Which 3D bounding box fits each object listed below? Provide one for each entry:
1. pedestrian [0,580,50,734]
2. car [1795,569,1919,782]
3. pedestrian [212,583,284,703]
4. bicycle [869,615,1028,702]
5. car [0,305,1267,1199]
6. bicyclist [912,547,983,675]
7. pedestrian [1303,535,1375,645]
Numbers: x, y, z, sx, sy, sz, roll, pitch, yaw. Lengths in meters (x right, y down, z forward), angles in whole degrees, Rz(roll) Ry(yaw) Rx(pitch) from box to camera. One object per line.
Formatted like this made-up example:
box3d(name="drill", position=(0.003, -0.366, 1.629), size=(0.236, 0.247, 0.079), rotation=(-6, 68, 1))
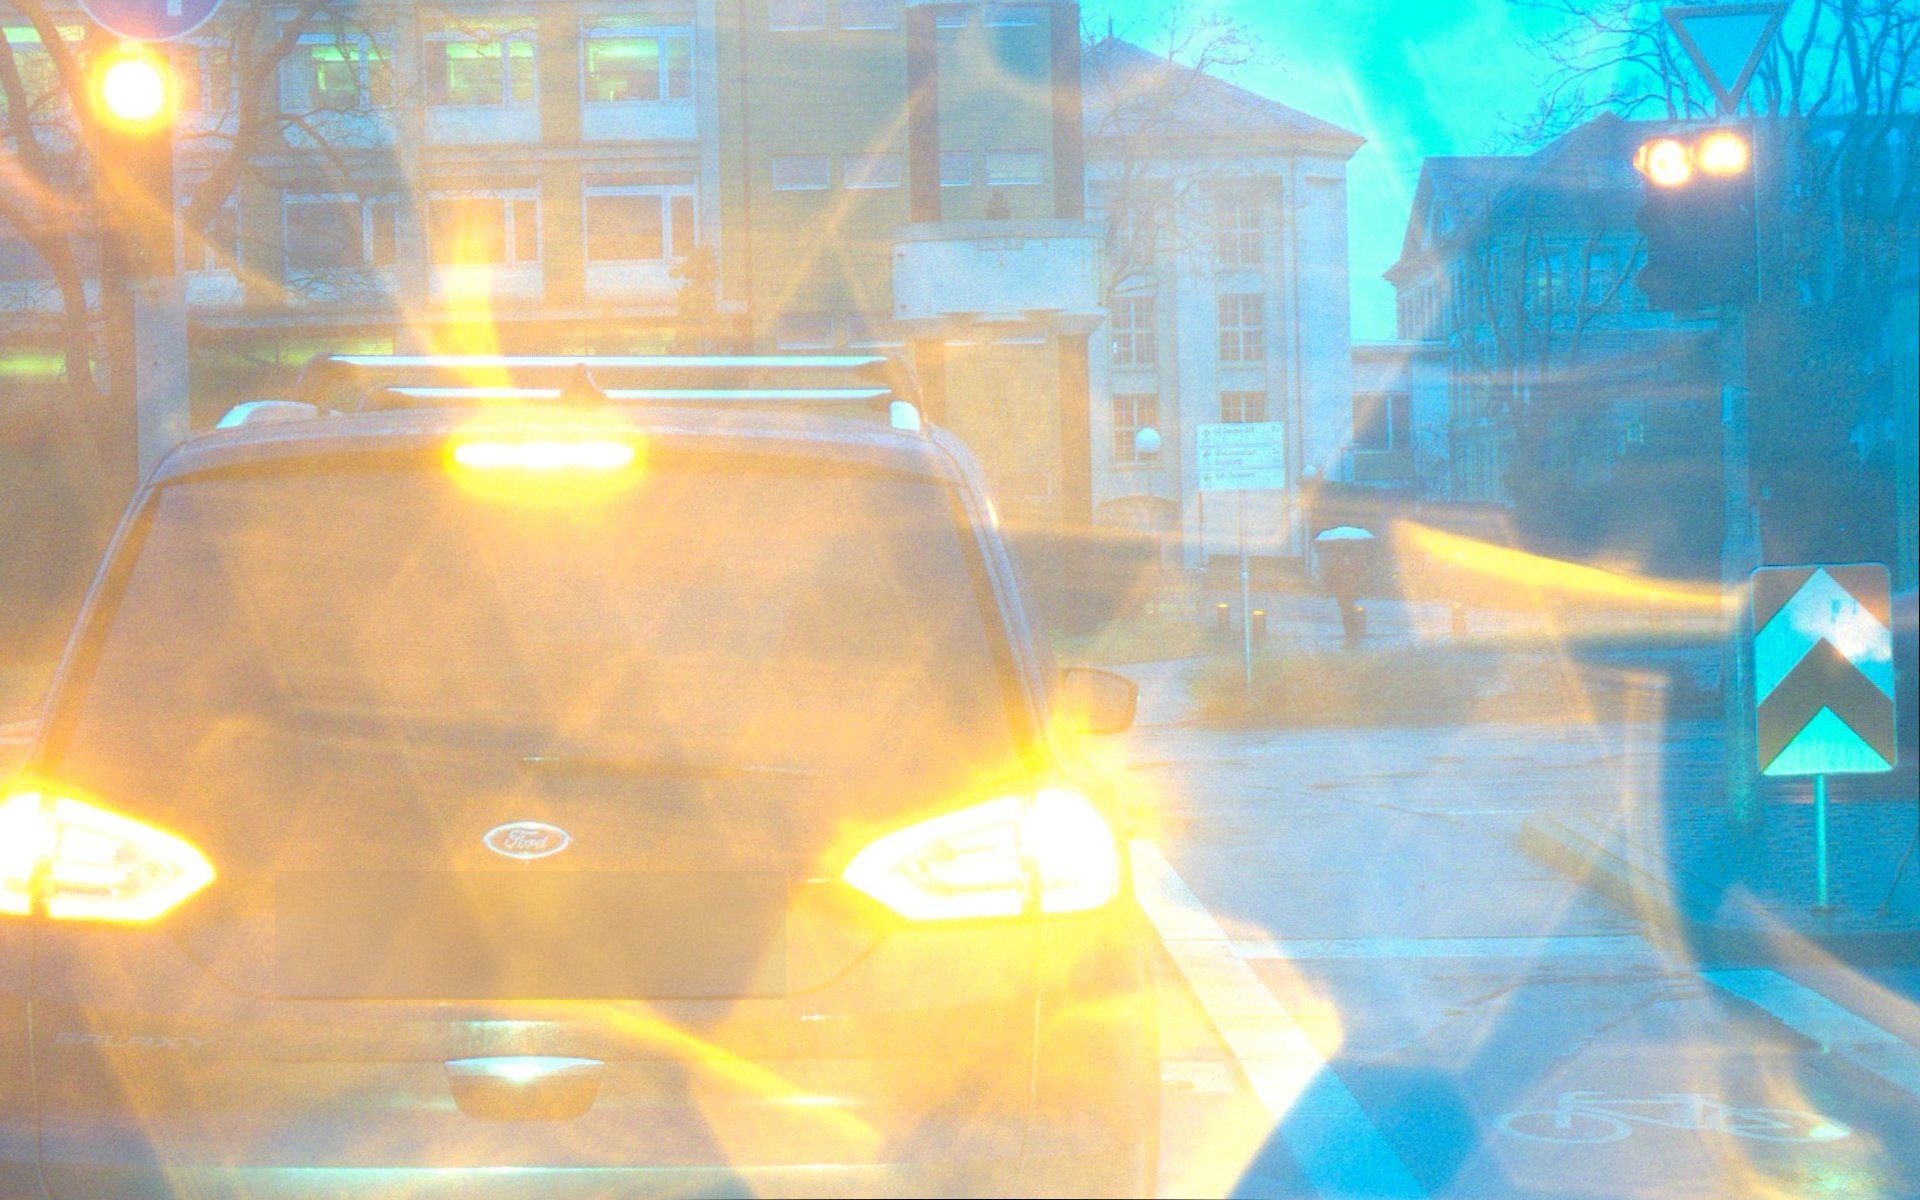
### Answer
box3d(name="pedestrian", position=(-12.184, 0.724, 42.892), size=(1.002, 1.836, 1.138), rotation=(-1, 3, 24))
box3d(name="car", position=(7.815, 0.406, 21.887), size=(4.685, 1.297, 1.938), rotation=(-2, 0, 10))
box3d(name="pedestrian", position=(-9.857, 0.594, 47.603), size=(0.760, 1.622, 0.557), rotation=(-2, 1, 13))
box3d(name="bicycle", position=(-0.147, 0.753, 44.001), size=(1.885, 1.044, 0.659), rotation=(-2, 1, 17))
box3d(name="car", position=(-0.624, 0.490, 6.567), size=(1.993, 1.783, 4.000), rotation=(1, 1, -1))
box3d(name="bicyclist", position=(-0.158, 0.139, 43.979), size=(0.685, 1.594, 0.659), rotation=(-2, 1, 17))
box3d(name="pedestrian", position=(5.712, -0.151, 51.848), size=(0.721, 1.622, 0.760), rotation=(-1, 2, 41))
